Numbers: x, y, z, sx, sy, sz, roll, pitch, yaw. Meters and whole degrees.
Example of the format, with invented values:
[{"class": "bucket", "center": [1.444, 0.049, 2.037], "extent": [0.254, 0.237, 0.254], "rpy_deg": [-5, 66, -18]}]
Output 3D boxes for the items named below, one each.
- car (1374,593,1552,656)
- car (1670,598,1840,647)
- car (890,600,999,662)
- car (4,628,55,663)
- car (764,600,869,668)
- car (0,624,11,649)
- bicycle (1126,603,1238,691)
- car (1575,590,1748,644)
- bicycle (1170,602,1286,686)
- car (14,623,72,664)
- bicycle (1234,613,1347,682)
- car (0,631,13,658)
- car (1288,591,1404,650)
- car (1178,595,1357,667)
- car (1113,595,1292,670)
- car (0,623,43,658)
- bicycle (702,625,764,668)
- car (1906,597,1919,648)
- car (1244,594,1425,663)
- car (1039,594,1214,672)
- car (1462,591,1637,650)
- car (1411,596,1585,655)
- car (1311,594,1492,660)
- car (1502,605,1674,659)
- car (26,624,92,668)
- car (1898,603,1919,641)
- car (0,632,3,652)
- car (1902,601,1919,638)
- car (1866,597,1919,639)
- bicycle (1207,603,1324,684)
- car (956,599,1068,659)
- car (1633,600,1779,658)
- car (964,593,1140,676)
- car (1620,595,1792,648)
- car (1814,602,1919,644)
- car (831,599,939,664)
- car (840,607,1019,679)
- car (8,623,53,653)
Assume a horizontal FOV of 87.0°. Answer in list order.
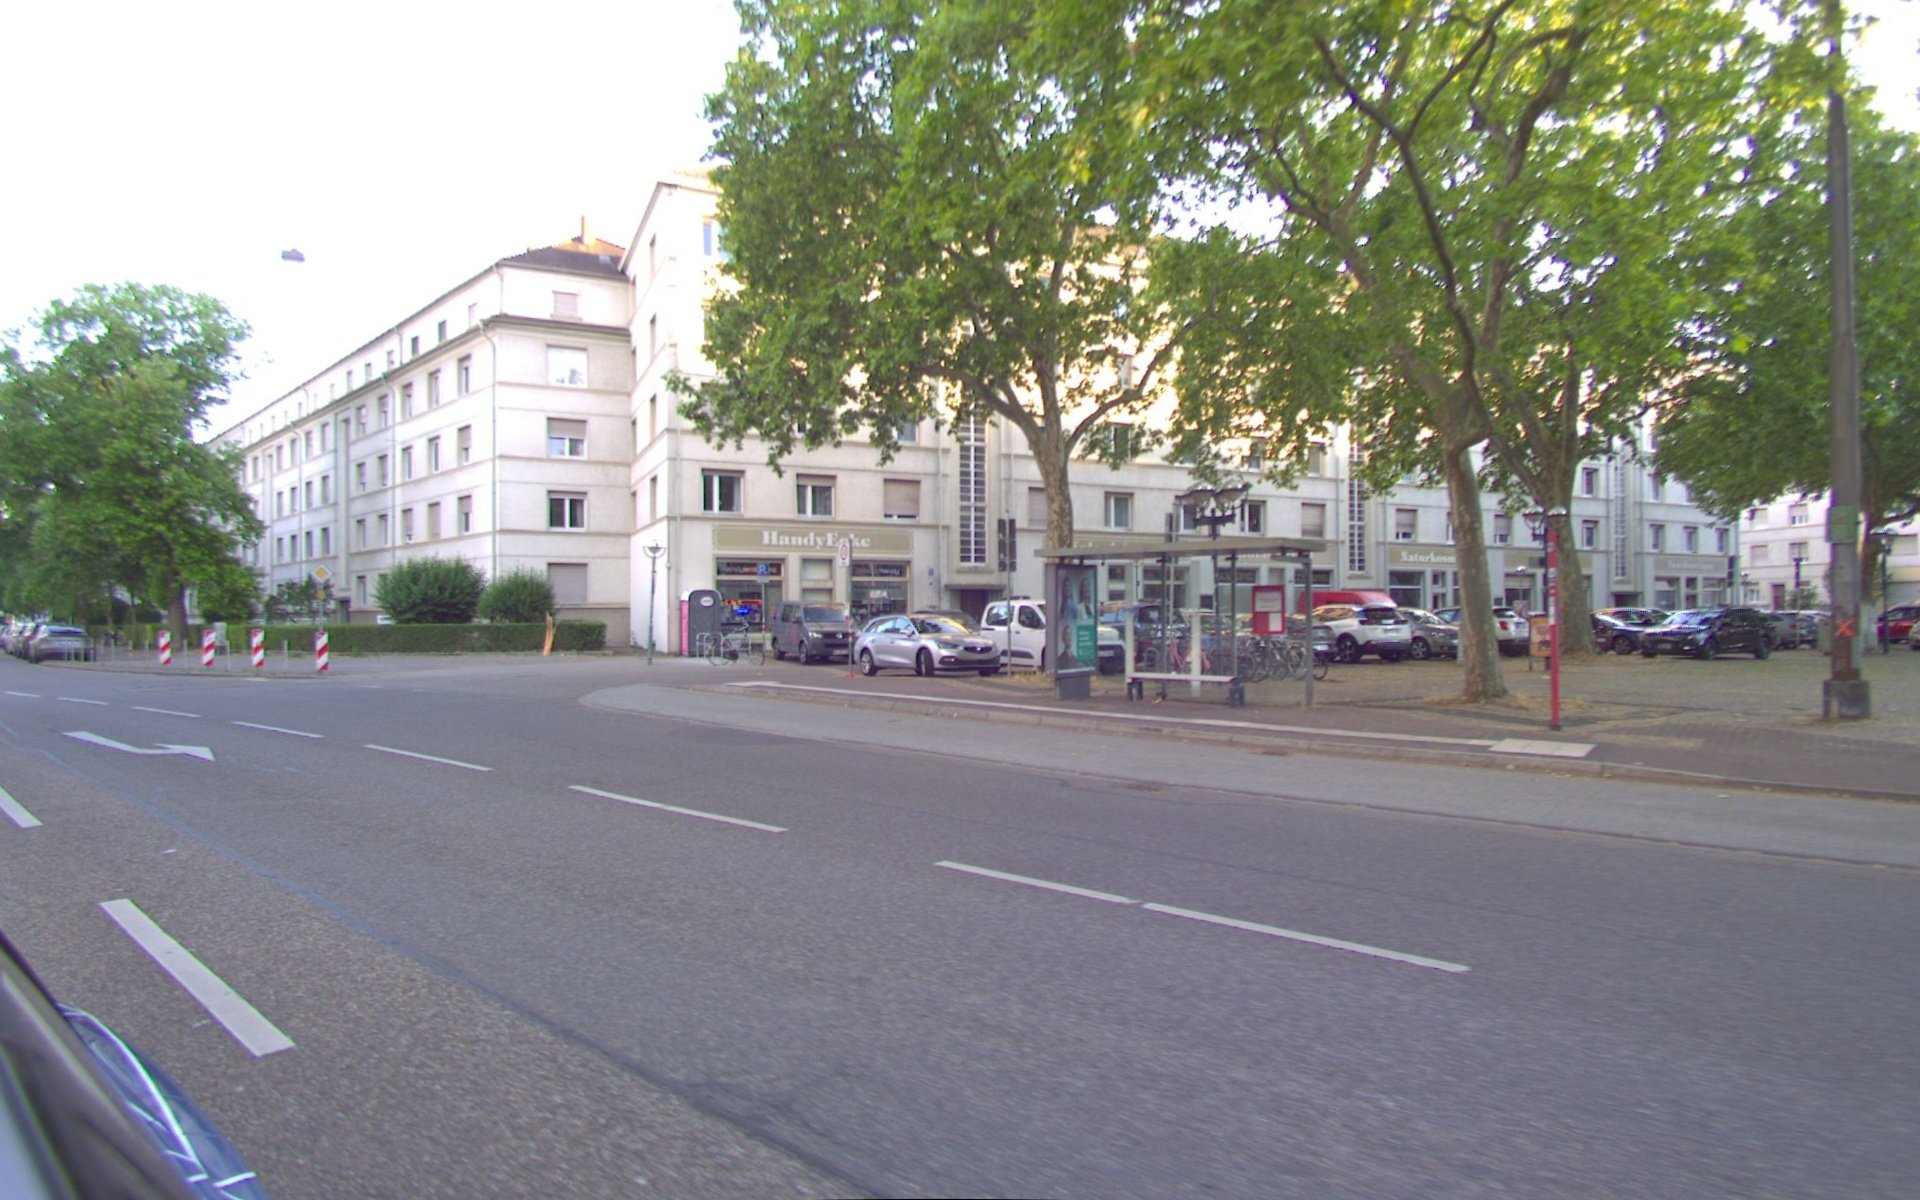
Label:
[{"class": "car", "center": [15.532, 0.838, 31.543], "extent": [1.965, 1.795, 4.655], "rpy_deg": [1, -3, -28]}, {"class": "car", "center": [30.322, 0.921, 38.783], "extent": [1.965, 1.748, 4.655], "rpy_deg": [1, -3, -28]}, {"class": "car", "center": [-0.626, 1.009, 35.098], "extent": [1.965, 1.970, 4.656], "rpy_deg": [1, 0, -26]}, {"class": "car", "center": [-48.156, 2.299, 52.345], "extent": [1.866, 1.612, 4.263], "rpy_deg": [-1, 0, -44]}, {"class": "car", "center": [-4.729, 1.028, 32.756], "extent": [1.965, 1.970, 4.656], "rpy_deg": [1, 0, -26]}, {"class": "car", "center": [-75.906, 2.840, 79.493], "extent": [1.866, 1.879, 4.263], "rpy_deg": [-1, 0, -44]}, {"class": "bicycle", "center": [4.407, 0.888, 20.394], "extent": [0.680, 1.626, 2.754], "rpy_deg": [-1, 0, -24]}, {"class": "car", "center": [25.104, 0.675, 36.411], "extent": [2.057, 1.795, 4.655], "rpy_deg": [1, -3, -28]}, {"class": "bicycle", "center": [5.586, 0.870, 21.321], "extent": [0.795, 1.626, 2.754], "rpy_deg": [-1, 0, -24]}, {"class": "car", "center": [-42.885, 1.985, 47.292], "extent": [1.866, 1.703, 4.263], "rpy_deg": [-1, 0, -44]}, {"class": "bicycle", "center": [7.238, 1.001, 22.349], "extent": [0.680, 1.394, 2.754], "rpy_deg": [-1, 0, -24]}, {"class": "car", "center": [-69.646, 3.202, 72.998], "extent": [1.866, 1.840, 4.263], "rpy_deg": [-1, 0, -44]}, {"class": "car", "center": [17.021, 0.851, 44.850], "extent": [1.965, 2.460, 4.656], "rpy_deg": [1, 0, -26]}, {"class": "car", "center": [8.332, 0.910, 27.879], "extent": [1.965, 1.795, 4.655], "rpy_deg": [1, -3, -28]}, {"class": "car", "center": [6.277, 0.901, 26.800], "extent": [1.965, 1.795, 4.655], "rpy_deg": [1, -3, -28]}, {"class": "car", "center": [-52.492, 2.246, 56.431], "extent": [1.866, 1.787, 4.263], "rpy_deg": [-1, 0, -44]}, {"class": "bicycle", "center": [-6.808, 1.393, 30.347], "extent": [1.776, 1.215, 0.649], "rpy_deg": [-1, 0, -16]}, {"class": "car", "center": [33.436, 0.706, 33.538], "extent": [3.696, 1.674, 1.680], "rpy_deg": [-1, 0, -23]}, {"class": "car", "center": [10.528, 0.870, 28.829], "extent": [1.965, 1.795, 4.655], "rpy_deg": [1, -3, -28]}, {"class": "car", "center": [4.120, 0.887, 25.897], "extent": [1.965, 1.795, 4.655], "rpy_deg": [1, -3, -28]}, {"class": "car", "center": [19.544, 0.746, 33.773], "extent": [1.965, 1.795, 4.655], "rpy_deg": [1, -3, -28]}, {"class": "car", "center": [17.375, 0.890, 32.962], "extent": [1.965, 1.795, 4.655], "rpy_deg": [1, -3, -28]}, {"class": "car", "center": [12.960, 0.870, 30.045], "extent": [1.965, 1.795, 4.655], "rpy_deg": [1, -3, -28]}, {"class": "car", "center": [21.730, 1.165, 35.230], "extent": [1.965, 1.748, 4.655], "rpy_deg": [1, -3, -28]}, {"class": "car", "center": [-37.178, 1.852, 41.724], "extent": [1.866, 1.612, 4.003], "rpy_deg": [-1, 0, -44]}, {"class": "car", "center": [46.099, 0.979, 46.146], "extent": [1.968, 1.748, 4.648], "rpy_deg": [2, -4, -40]}, {"class": "car", "center": [-82.868, 3.557, 86.211], "extent": [1.866, 1.612, 4.263], "rpy_deg": [-1, 0, -44]}, {"class": "car", "center": [47.872, 0.883, 47.859], "extent": [1.968, 1.748, 4.648], "rpy_deg": [2, -4, -40]}, {"class": "car", "center": [43.769, 0.774, 45.154], "extent": [1.968, 1.824, 4.658], "rpy_deg": [2, -4, -38]}, {"class": "bicycle", "center": [6.526, 0.884, 21.836], "extent": [0.795, 1.626, 2.754], "rpy_deg": [-1, 0, -24]}, {"class": "car", "center": [1.784, 0.975, 36.280], "extent": [1.965, 1.970, 4.656], "rpy_deg": [1, 0, -26]}, {"class": "car", "center": [21.108, 0.792, 28.644], "extent": [3.696, 1.540, 1.680], "rpy_deg": [0, 0, -23]}, {"class": "car", "center": [2.074, 0.877, 24.441], "extent": [1.965, 1.795, 4.655], "rpy_deg": [1, -3, -28]}, {"class": "car", "center": [27.448, 0.860, 37.422], "extent": [1.965, 1.795, 4.655], "rpy_deg": [1, -3, -28]}, {"class": "car", "center": [41.006, 1.034, 44.741], "extent": [1.968, 1.748, 4.648], "rpy_deg": [2, -4, -40]}, {"class": "car", "center": [-2.611, 0.988, 34.004], "extent": [1.965, 1.970, 4.656], "rpy_deg": [1, 0, -26]}, {"class": "car", "center": [-0.840, 1.026, 23.574], "extent": [1.967, 1.515, 4.652], "rpy_deg": [2, -4, -35]}, {"class": "car", "center": [-55.939, 2.253, 60.871], "extent": [1.866, 1.612, 4.263], "rpy_deg": [-1, 0, -44]}]
